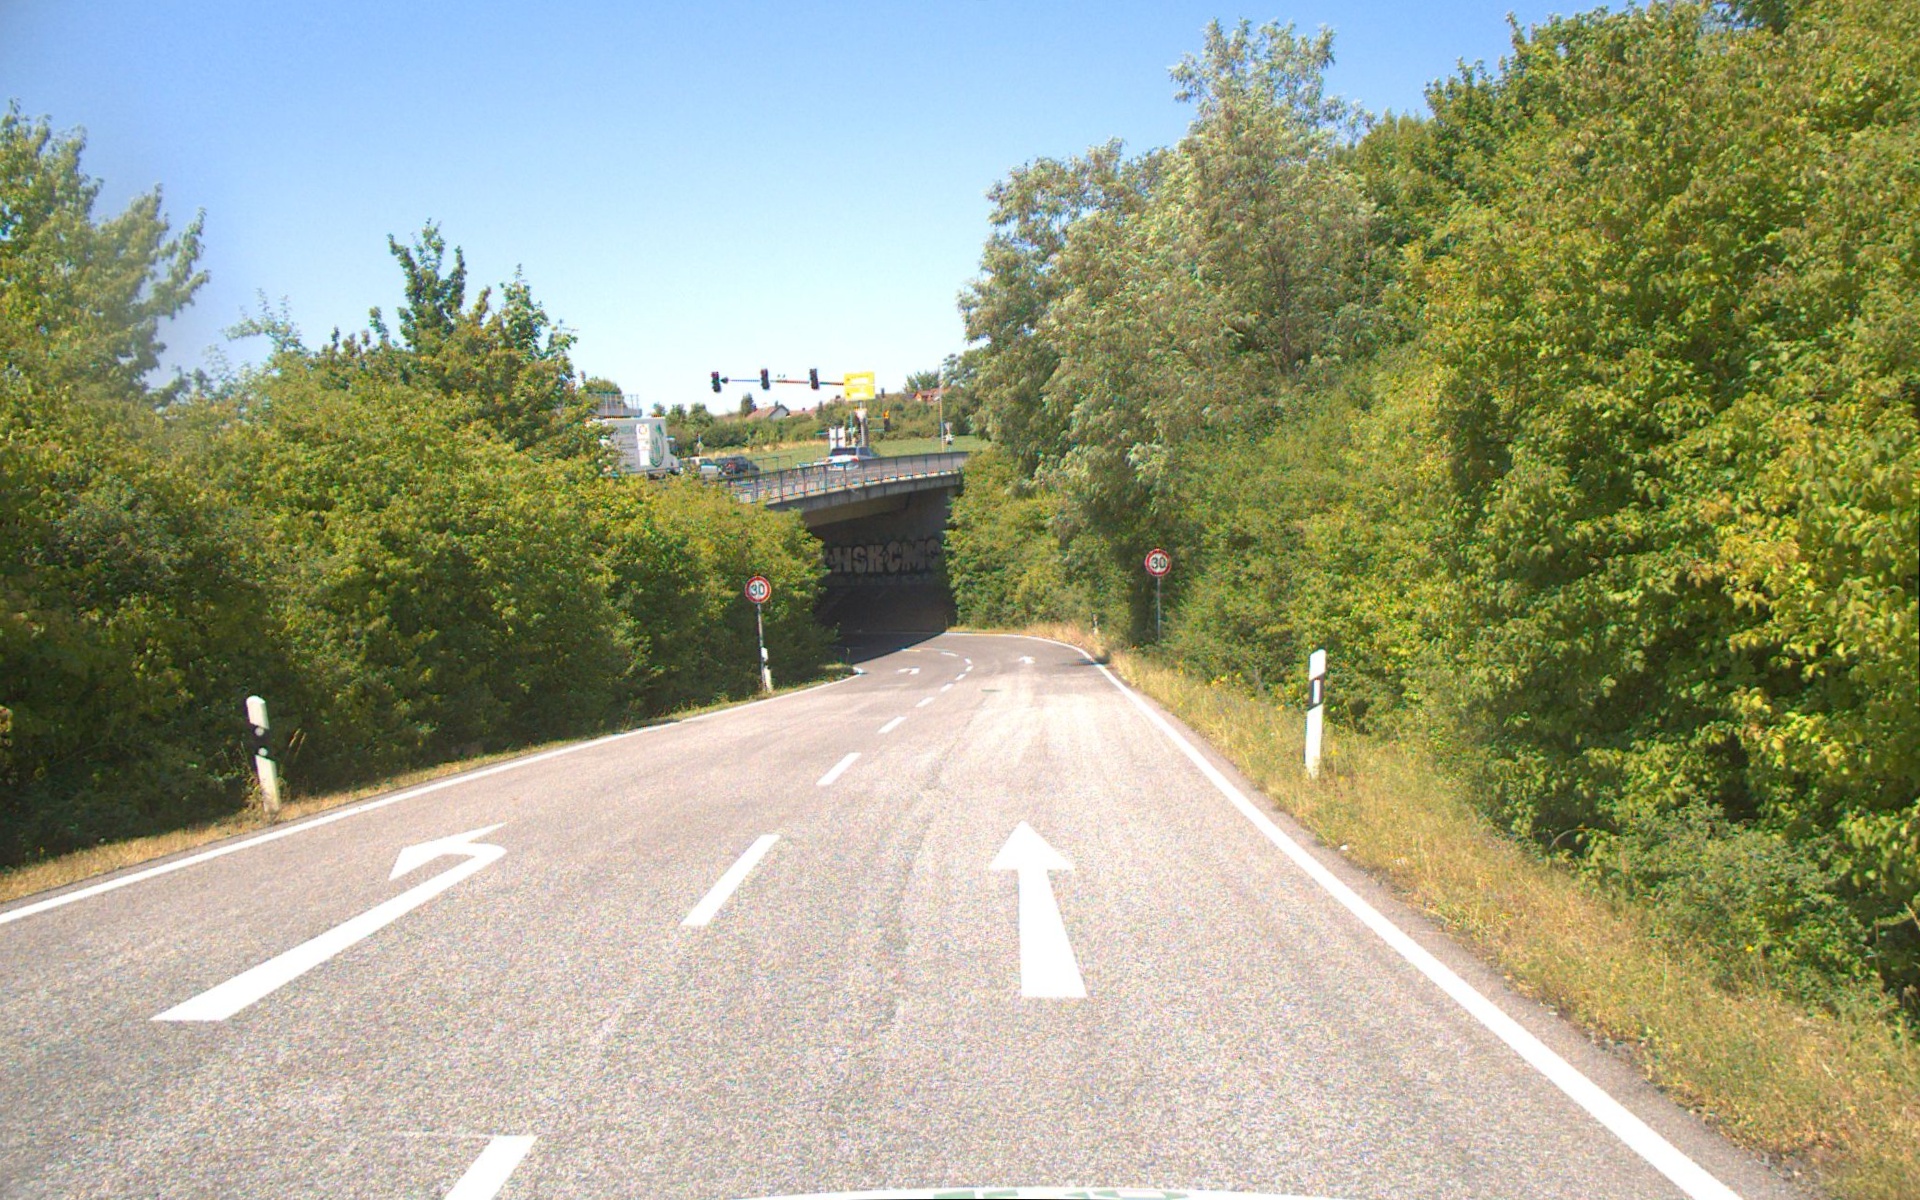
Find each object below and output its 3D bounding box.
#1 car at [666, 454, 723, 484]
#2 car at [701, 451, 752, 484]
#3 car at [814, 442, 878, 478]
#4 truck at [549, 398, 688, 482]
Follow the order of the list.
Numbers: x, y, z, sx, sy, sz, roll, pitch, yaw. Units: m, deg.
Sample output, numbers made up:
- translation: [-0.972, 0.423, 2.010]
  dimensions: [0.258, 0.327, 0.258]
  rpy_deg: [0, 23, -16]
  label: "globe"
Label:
- translation: [-14.425, -7.100, 90.056]
  dimensions: [1.856, 1.386, 4.004]
  rpy_deg: [-1, 1, 9]
  label: "car"
- translation: [-13.453, -7.652, 95.603]
  dimensions: [1.951, 1.646, 4.003]
  rpy_deg: [-1, 1, 6]
  label: "car"
- translation: [-5.224, -6.438, 76.242]
  dimensions: [1.951, 1.445, 4.005]
  rpy_deg: [-4, 3, 11]
  label: "car"
- translation: [-16.637, -7.768, 81.461]
  dimensions: [2.963, 3.650, 8.914]
  rpy_deg: [-4, 3, 14]
  label: "truck"
